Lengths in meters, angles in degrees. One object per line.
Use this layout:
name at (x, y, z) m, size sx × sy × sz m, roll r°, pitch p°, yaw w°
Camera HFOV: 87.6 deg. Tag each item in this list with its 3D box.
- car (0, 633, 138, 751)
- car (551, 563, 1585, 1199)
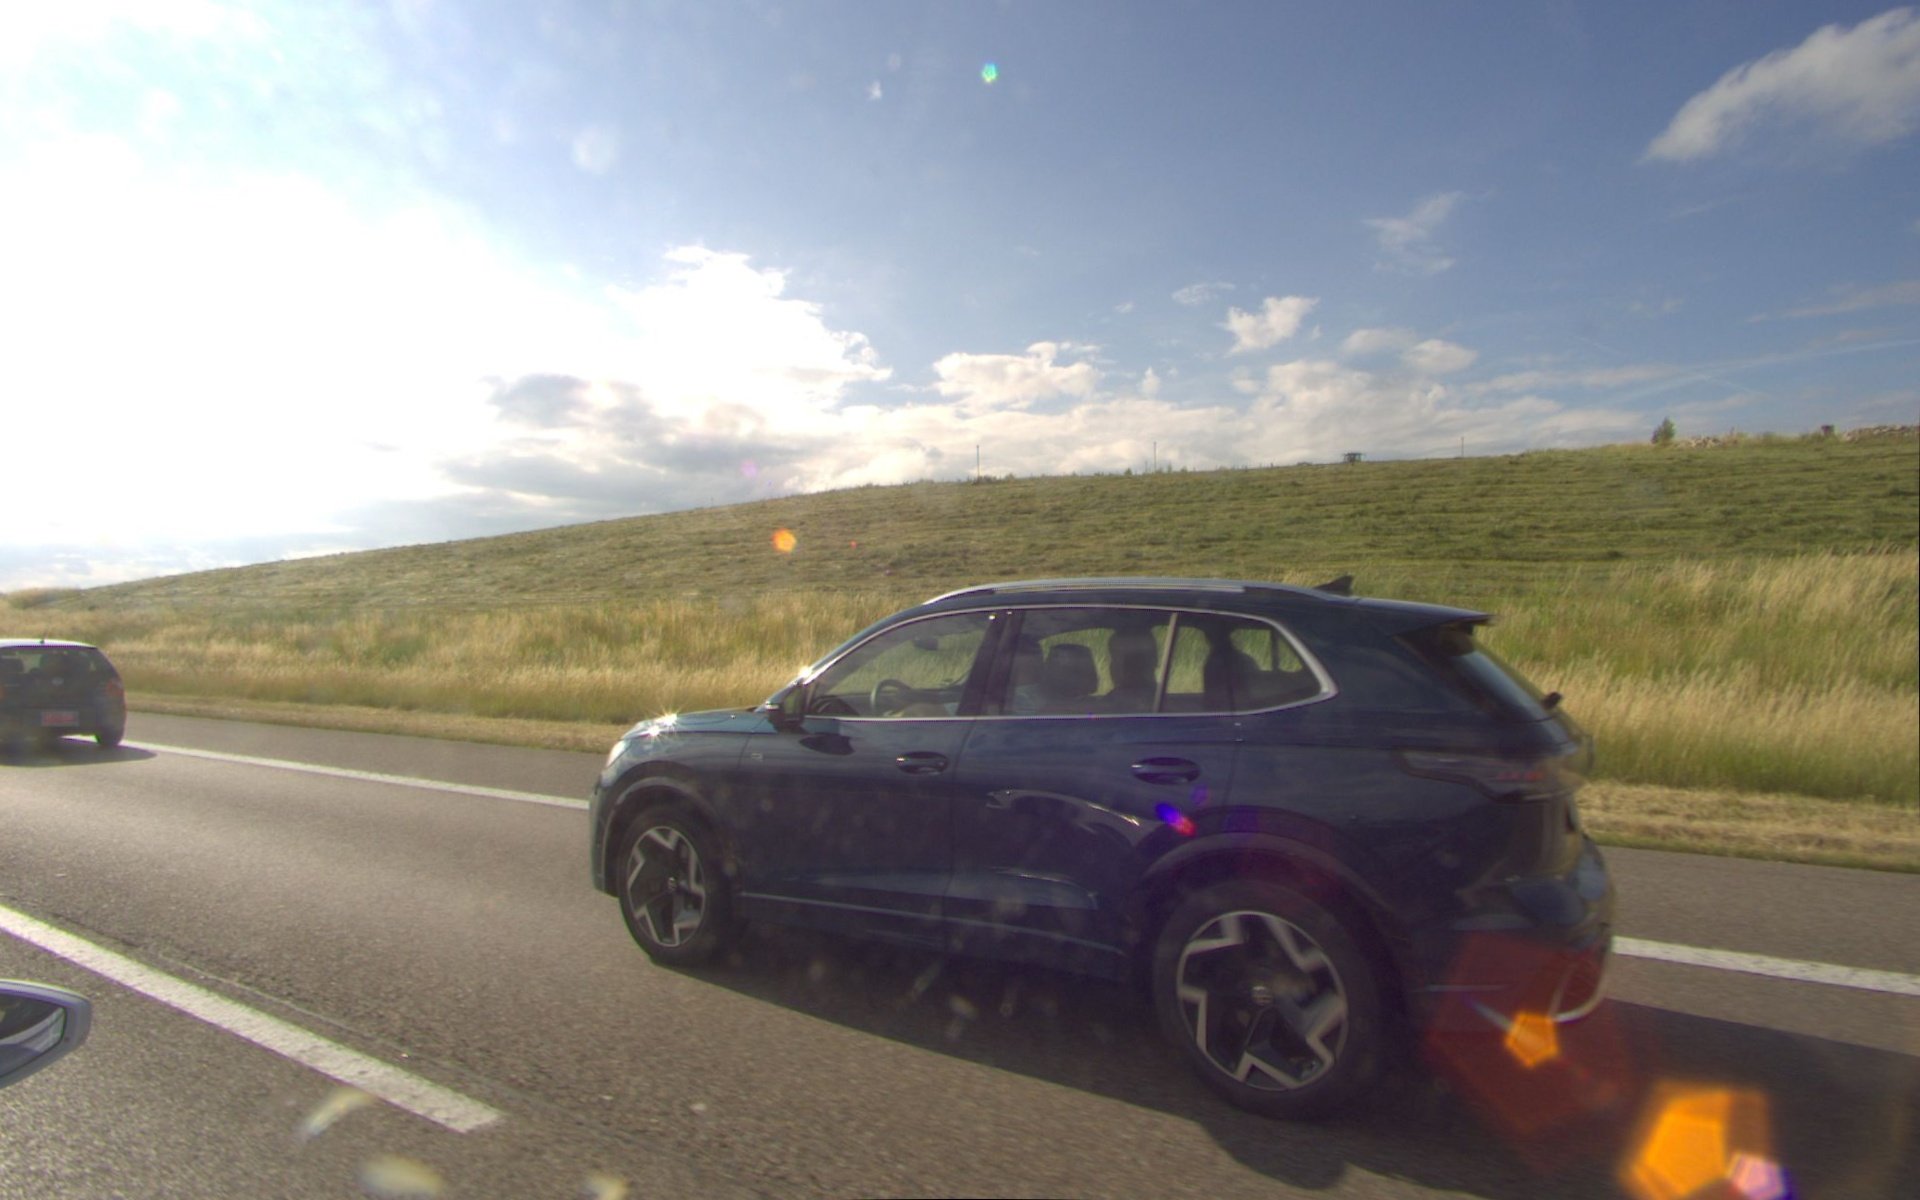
car at (-12.979, 1.186, 13.767) m, size 3.621 × 1.438 × 1.602 m, roll -2°, pitch -2°, yaw 33°
car at (0.285, 0.790, 4.435) m, size 4.175 × 1.622 × 1.818 m, roll -2°, pitch -2°, yaw 32°
